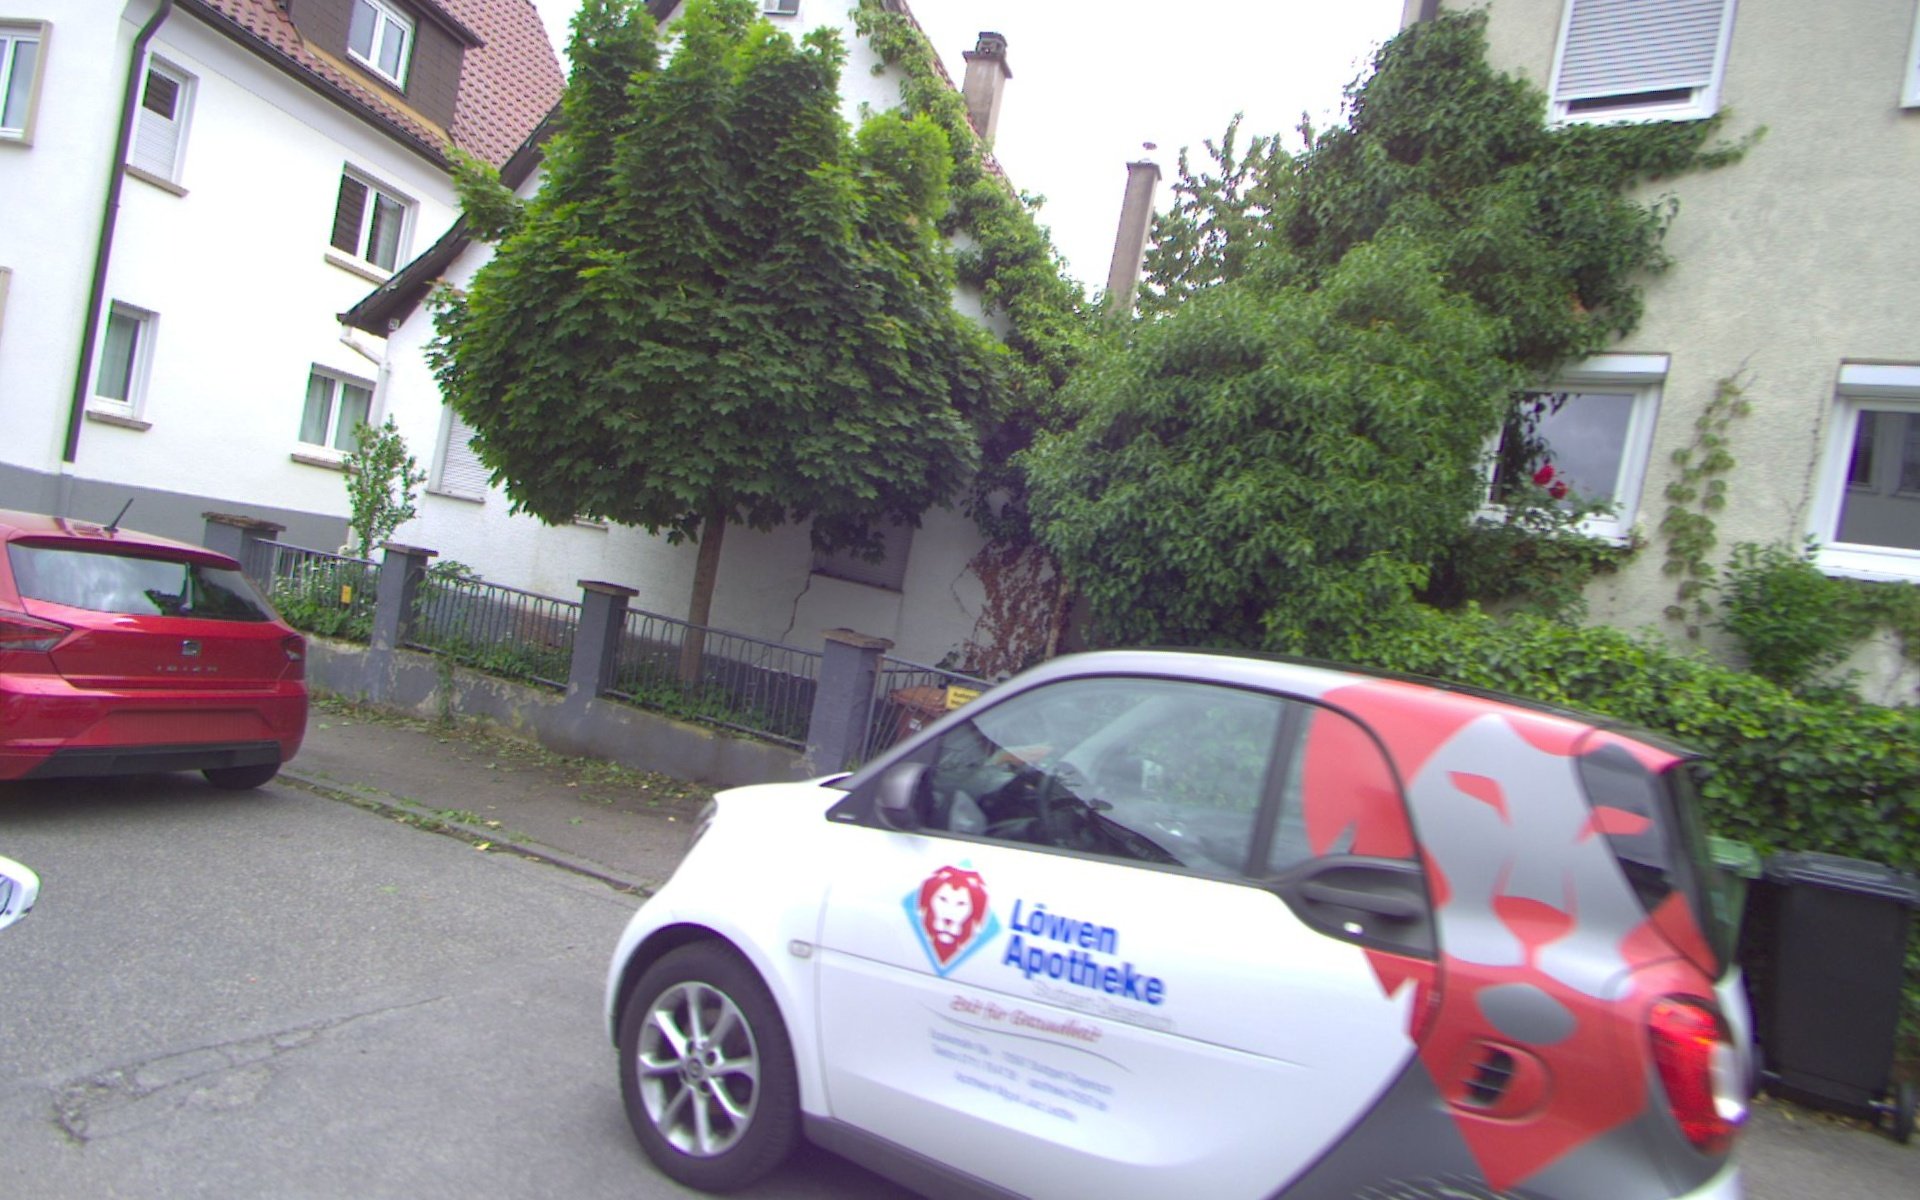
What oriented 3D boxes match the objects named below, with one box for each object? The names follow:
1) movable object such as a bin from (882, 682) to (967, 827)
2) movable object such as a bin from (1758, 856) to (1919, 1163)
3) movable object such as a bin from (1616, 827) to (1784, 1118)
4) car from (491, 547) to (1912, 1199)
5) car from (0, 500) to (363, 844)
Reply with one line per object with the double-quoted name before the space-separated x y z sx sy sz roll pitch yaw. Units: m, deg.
"movable object such as a bin" -0.254 1.093 7.229 0.368 0.961 0.372 7 1 32
"movable object such as a bin" 3.331 1.494 3.763 0.439 0.910 0.438 6 2 35
"movable object such as a bin" 2.912 1.435 3.987 0.439 0.925 0.438 6 2 35
"car" 0.417 0.869 2.834 2.847 1.548 1.617 7 -4 29
"car" -5.588 0.183 5.653 3.780 1.468 1.686 6 -2 19
